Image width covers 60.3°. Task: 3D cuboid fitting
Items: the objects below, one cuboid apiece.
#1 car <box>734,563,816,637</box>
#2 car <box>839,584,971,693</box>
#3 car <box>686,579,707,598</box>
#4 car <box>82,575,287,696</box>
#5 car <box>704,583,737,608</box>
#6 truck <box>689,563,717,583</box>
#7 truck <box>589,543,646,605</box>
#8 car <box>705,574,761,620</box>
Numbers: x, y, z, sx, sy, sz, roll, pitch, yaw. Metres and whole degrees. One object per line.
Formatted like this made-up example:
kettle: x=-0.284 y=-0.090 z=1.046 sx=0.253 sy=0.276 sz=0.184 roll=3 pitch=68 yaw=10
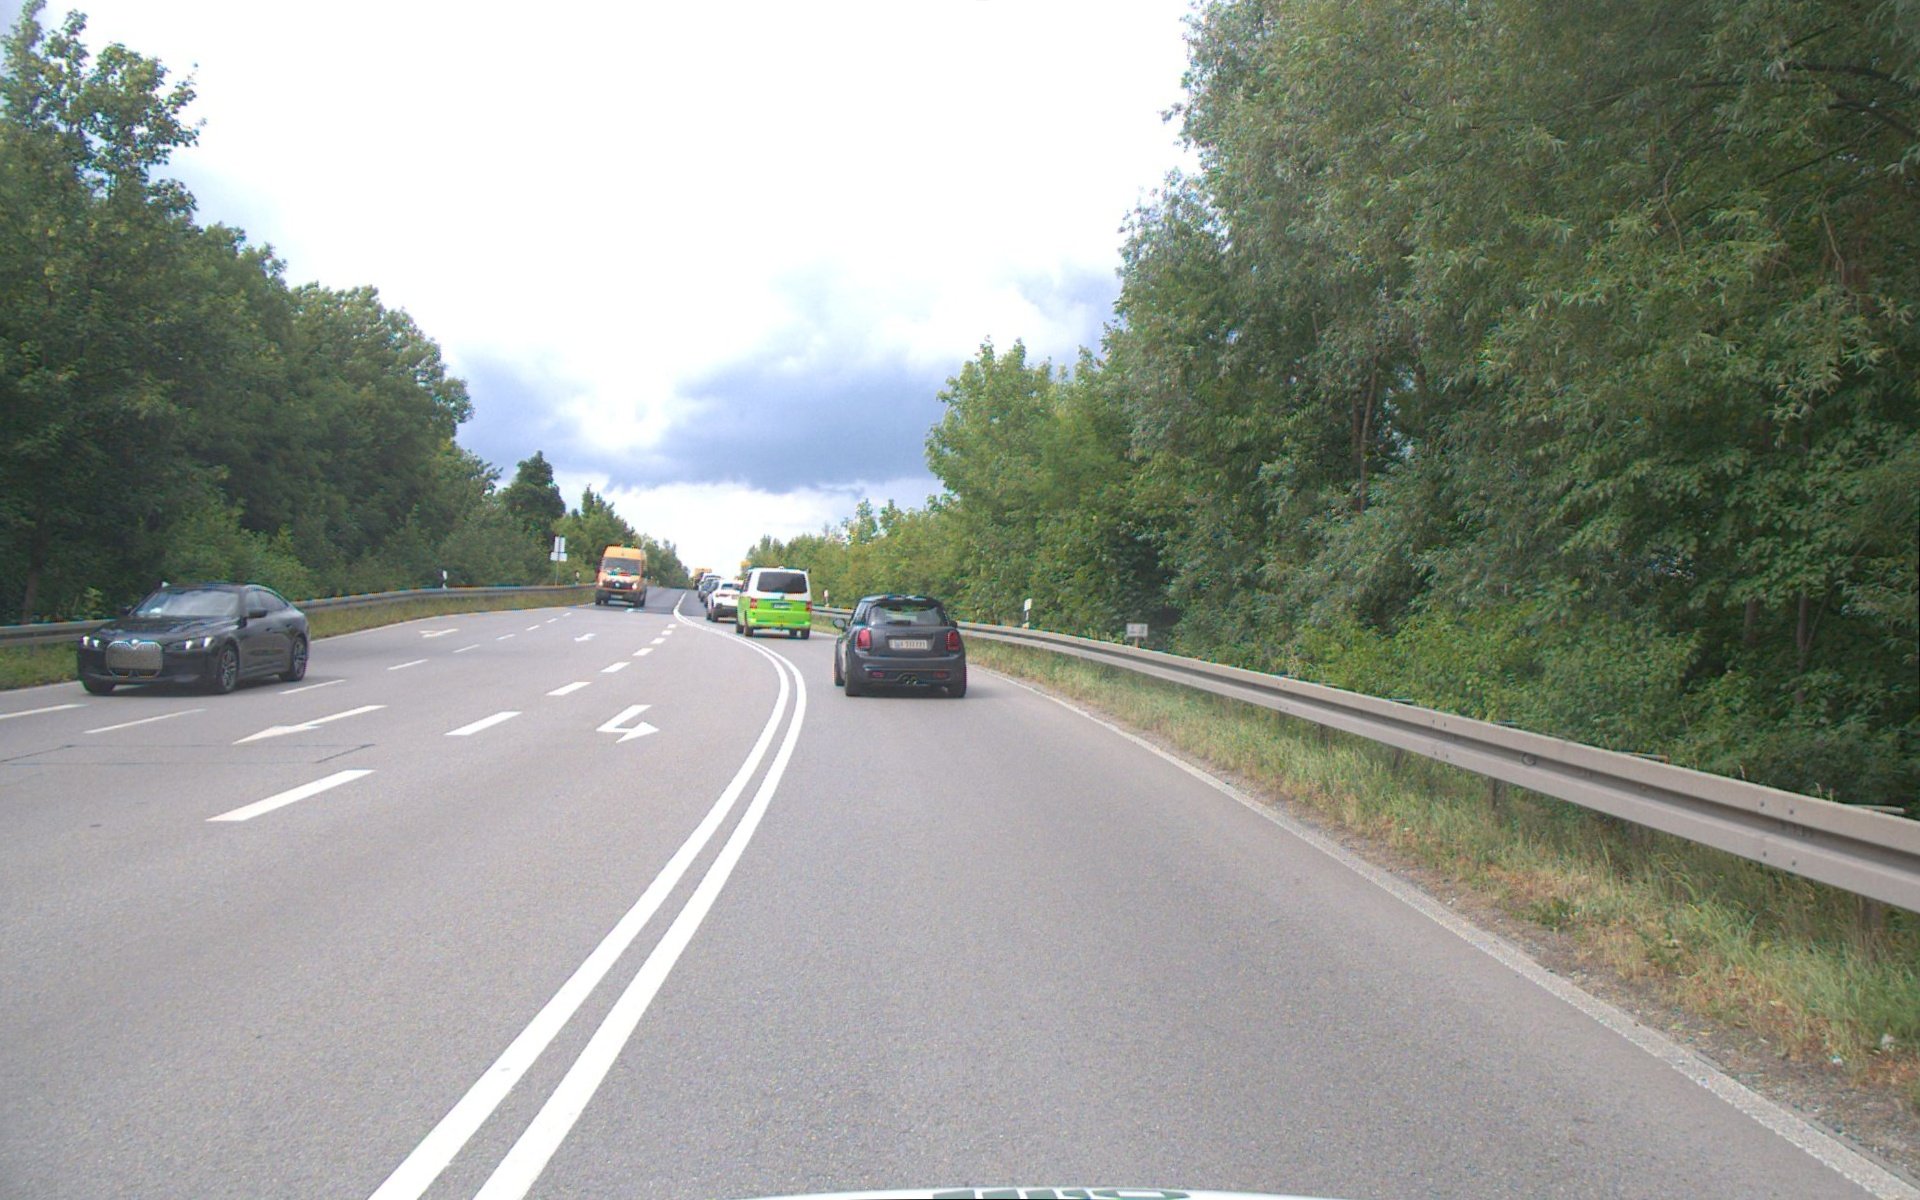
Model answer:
car: x=-5.460 y=-0.030 z=48.382 sx=1.987 sy=2.048 sz=3.989 roll=1 pitch=1 yaw=-12
car: x=-0.898 y=0.518 z=24.717 sx=1.698 sy=1.481 sz=3.995 roll=1 pitch=0 yaw=-6
car: x=-25.497 y=-1.114 z=159.981 sx=1.957 sy=1.829 sz=3.992 roll=1 pitch=0 yaw=-9
car: x=-10.804 y=0.422 z=23.367 sx=1.688 sy=1.524 sz=4.533 roll=0 pitch=1 yaw=-13
car: x=-12.435 y=-0.238 z=85.945 sx=1.663 sy=1.243 sz=3.992 roll=1 pitch=1 yaw=-8
truck: x=-32.956 y=-3.427 z=212.354 sx=2.853 sy=2.413 sz=10.441 roll=1 pitch=1 yaw=-5
truck: x=-15.539 y=-1.200 z=75.402 sx=2.274 sy=2.646 sz=6.010 roll=1 pitch=1 yaw=-10
car: x=-8.509 y=-0.132 z=61.718 sx=1.952 sy=1.646 sz=4.144 roll=1 pitch=1 yaw=-9
